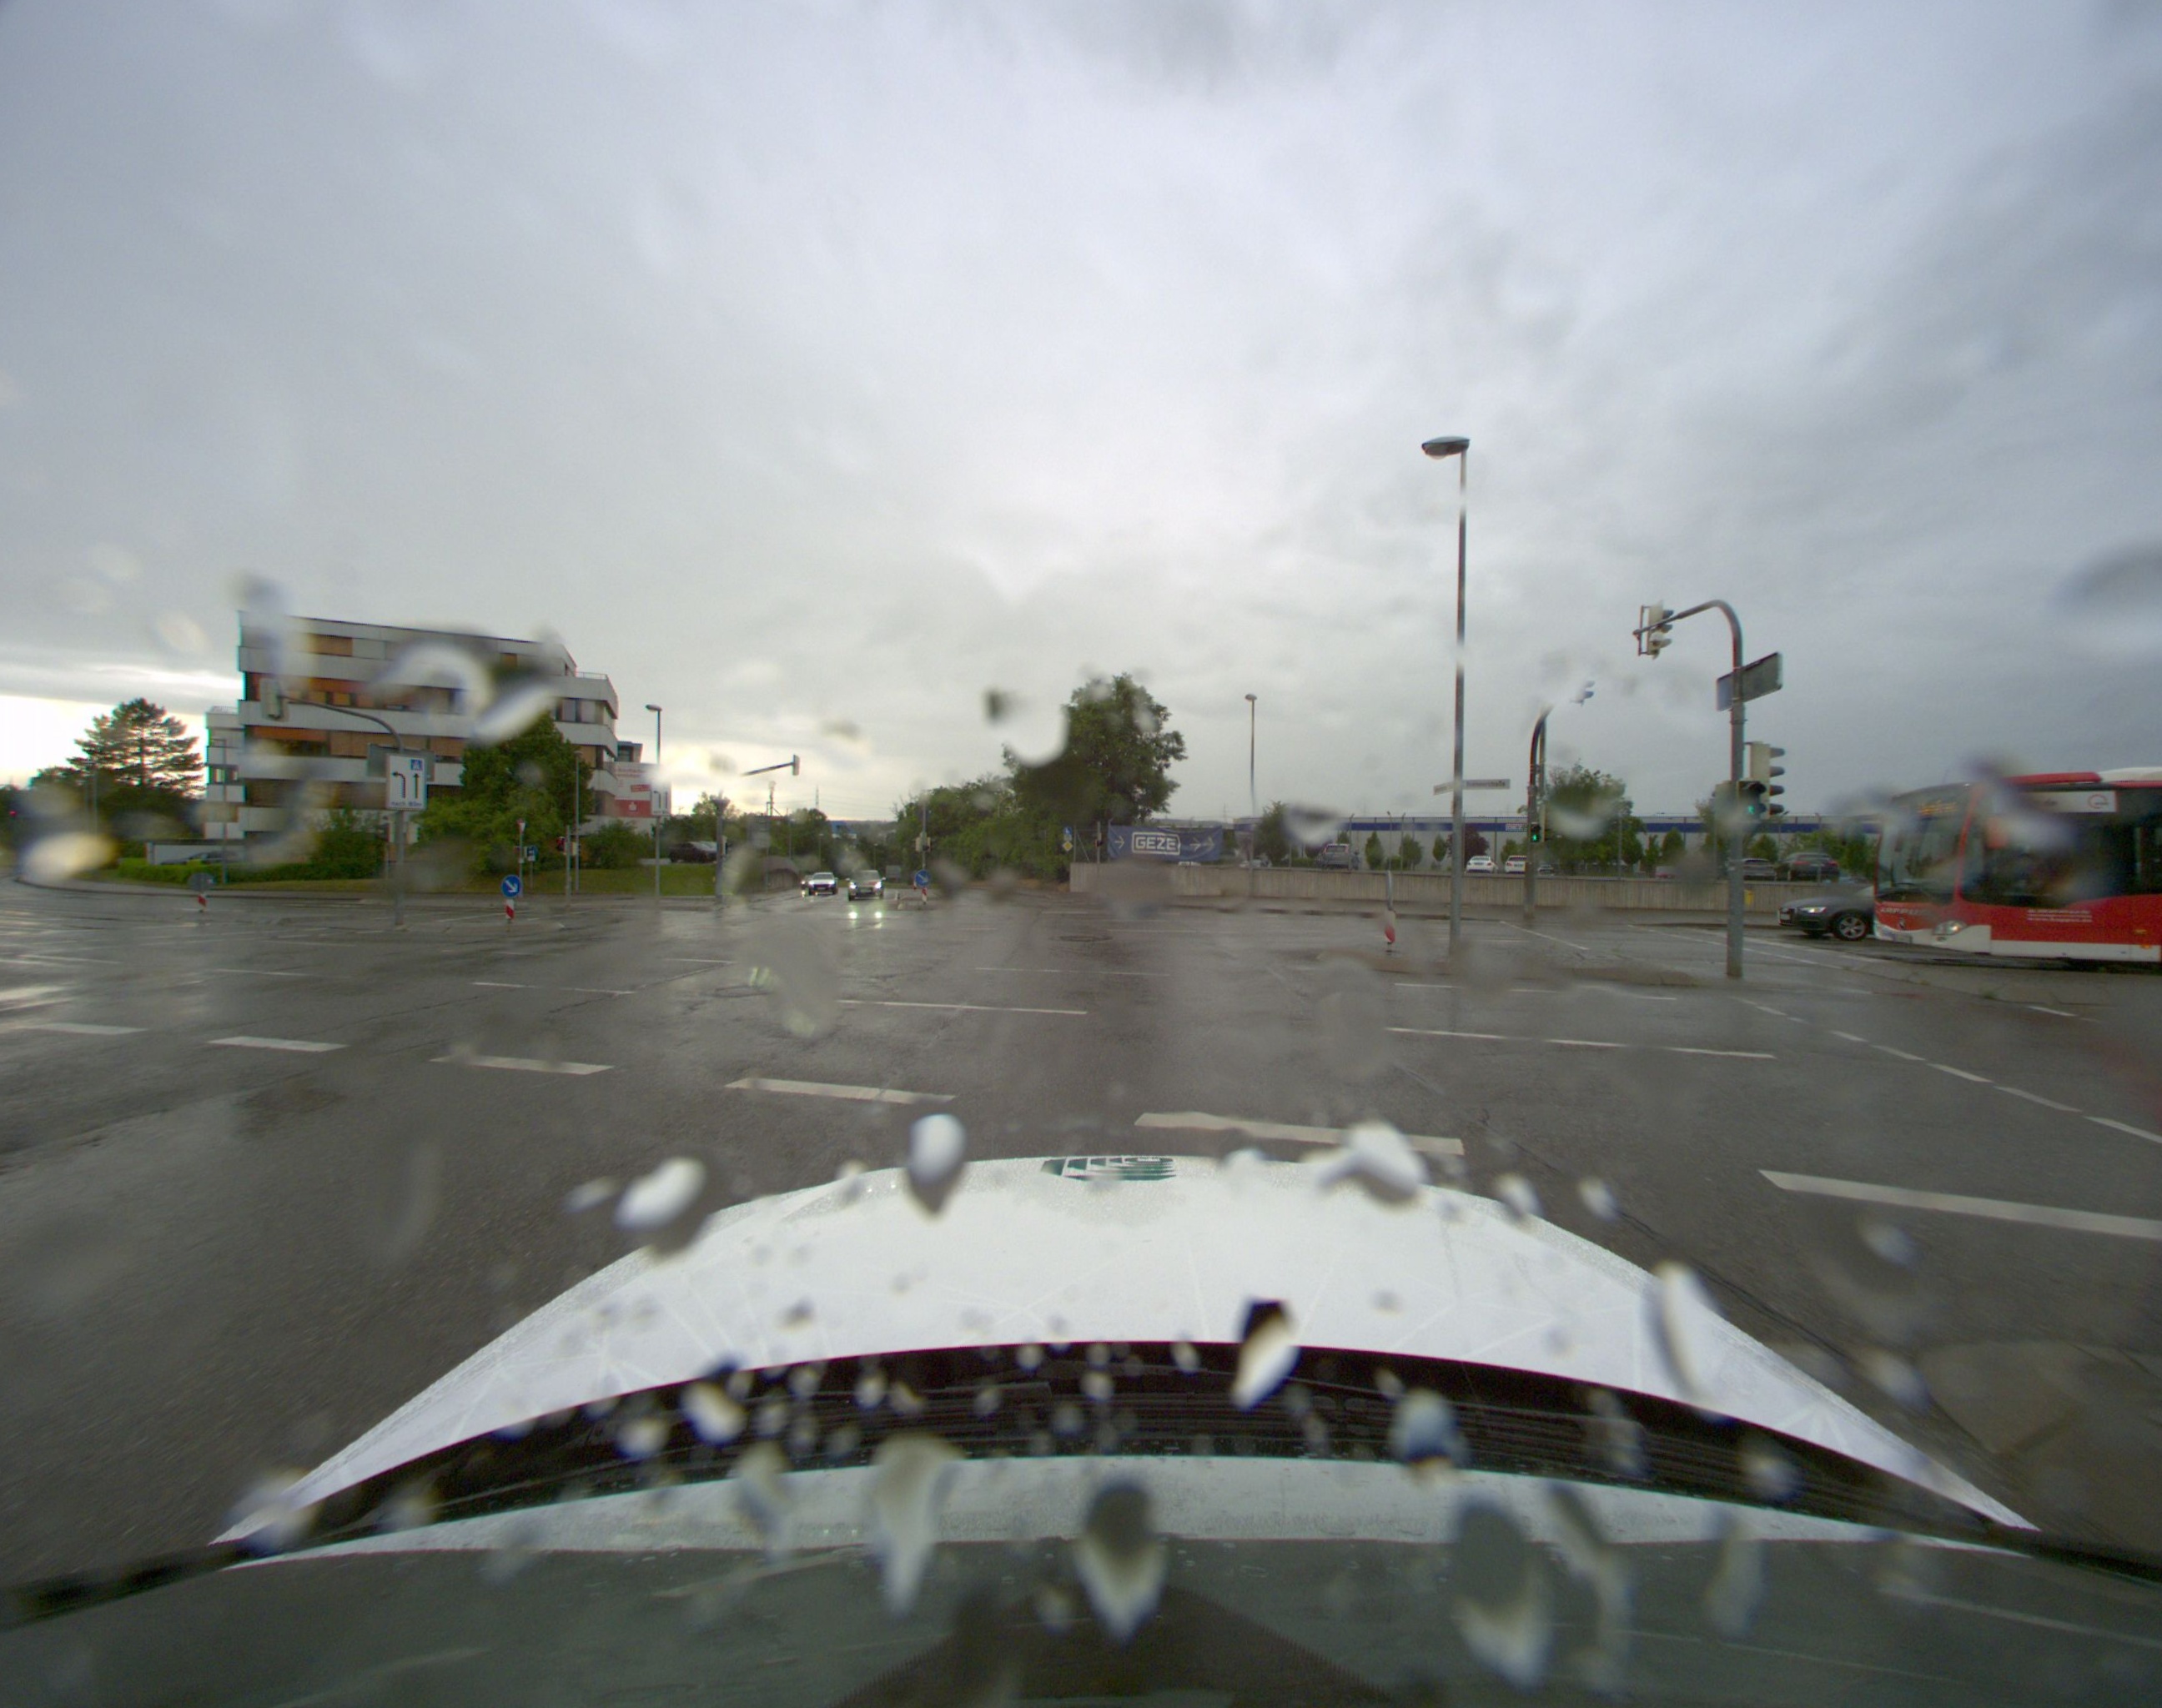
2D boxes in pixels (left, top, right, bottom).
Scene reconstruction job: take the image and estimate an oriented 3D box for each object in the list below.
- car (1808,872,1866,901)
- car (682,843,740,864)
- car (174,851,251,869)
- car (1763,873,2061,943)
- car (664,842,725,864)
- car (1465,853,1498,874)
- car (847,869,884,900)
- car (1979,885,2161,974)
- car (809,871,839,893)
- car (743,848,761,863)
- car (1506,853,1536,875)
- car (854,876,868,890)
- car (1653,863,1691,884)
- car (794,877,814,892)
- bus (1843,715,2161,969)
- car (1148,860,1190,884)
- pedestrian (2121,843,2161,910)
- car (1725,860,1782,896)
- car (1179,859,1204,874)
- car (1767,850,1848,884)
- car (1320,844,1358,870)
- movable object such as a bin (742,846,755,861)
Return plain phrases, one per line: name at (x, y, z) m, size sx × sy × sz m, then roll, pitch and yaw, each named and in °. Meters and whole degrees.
car at (54.420, 2.290, 58.732) m, size 1.975 × 2.014 × 4.023 m, roll -1°, pitch -1°, yaw 26°
car at (-30.266, -0.009, 66.667) m, size 3.956 × 1.586 × 1.910 m, roll 0°, pitch -3°, yaw 17°
car at (-67.605, 0.455, 63.492) m, size 3.777 × 1.399 × 1.978 m, roll 0°, pitch 0°, yaw -37°
car at (18.438, 1.142, 18.355) m, size 4.342 × 1.354 × 1.835 m, roll 0°, pitch 0°, yaw 21°
car at (-30.346, -0.059, 64.017) m, size 3.959 × 1.586 × 1.909 m, roll 0°, pitch -3°, yaw 13°
car at (29.358, 0.708, 59.630) m, size 1.800 × 1.434 × 4.129 m, roll -1°, pitch -1°, yaw 31°
car at (-10.953, 1.520, 41.507) m, size 1.663 × 1.495 × 3.982 m, roll 0°, pitch -1°, yaw -13°
car at (19.863, 1.350, 14.710) m, size 4.538 × 1.468 × 1.912 m, roll 0°, pitch 0°, yaw 21°
car at (-18.120, 1.974, 57.521) m, size 1.722 × 1.495 × 3.982 m, roll 0°, pitch -1°, yaw -13°
car at (-37.544, 0.177, 92.944) m, size 1.834 × 1.442 × 3.970 m, roll 2°, pitch -3°, yaw -22°
car at (31.747, 0.734, 58.822) m, size 1.840 × 1.526 × 4.128 m, roll -1°, pitch -1°, yaw 28°
car at (-34.468, 4.566, 127.712) m, size 1.998 × 2.014 × 3.978 m, roll 0°, pitch 0°, yaw -16°
car at (45.789, 1.468, 63.154) m, size 1.904 × 1.589 × 3.812 m, roll 0°, pitch 0°, yaw 28°
car at (-28.712, 3.157, 84.390) m, size 1.904 × 1.456 × 3.975 m, roll 0°, pitch 0°, yaw -18°
bus at (19.224, -0.049, 11.460) m, size 12.146 × 3.576 × 3.002 m, roll 2°, pitch 0°, yaw 21°
car at (5.996, 1.212, 55.090) m, size 1.727 × 1.570 × 3.551 m, roll -1°, pitch -1°, yaw 26°
pedestrian at (26.720, 0.545, 20.145) m, size 0.863 × 1.610 × 0.874 m, roll 0°, pitch 3°, yaw 18°
car at (40.086, 1.403, 48.625) m, size 1.727 × 2.014 × 3.846 m, roll -1°, pitch -1°, yaw 26°
car at (12.033, 1.341, 88.544) m, size 1.651 × 1.606 × 3.551 m, roll -1°, pitch -1°, yaw 26°
car at (34.969, 0.643, 39.337) m, size 1.690 × 1.559 × 4.212 m, roll -1°, pitch -1°, yaw 24°
car at (15.757, 0.214, 49.676) m, size 1.727 × 1.553 × 3.551 m, roll -1°, pitch -1°, yaw 26°
movable object such as a bin at (-33.780, -0.010, 82.757) m, size 1.088 × 1.437 × 1.436 m, roll 2°, pitch -3°, yaw -22°
